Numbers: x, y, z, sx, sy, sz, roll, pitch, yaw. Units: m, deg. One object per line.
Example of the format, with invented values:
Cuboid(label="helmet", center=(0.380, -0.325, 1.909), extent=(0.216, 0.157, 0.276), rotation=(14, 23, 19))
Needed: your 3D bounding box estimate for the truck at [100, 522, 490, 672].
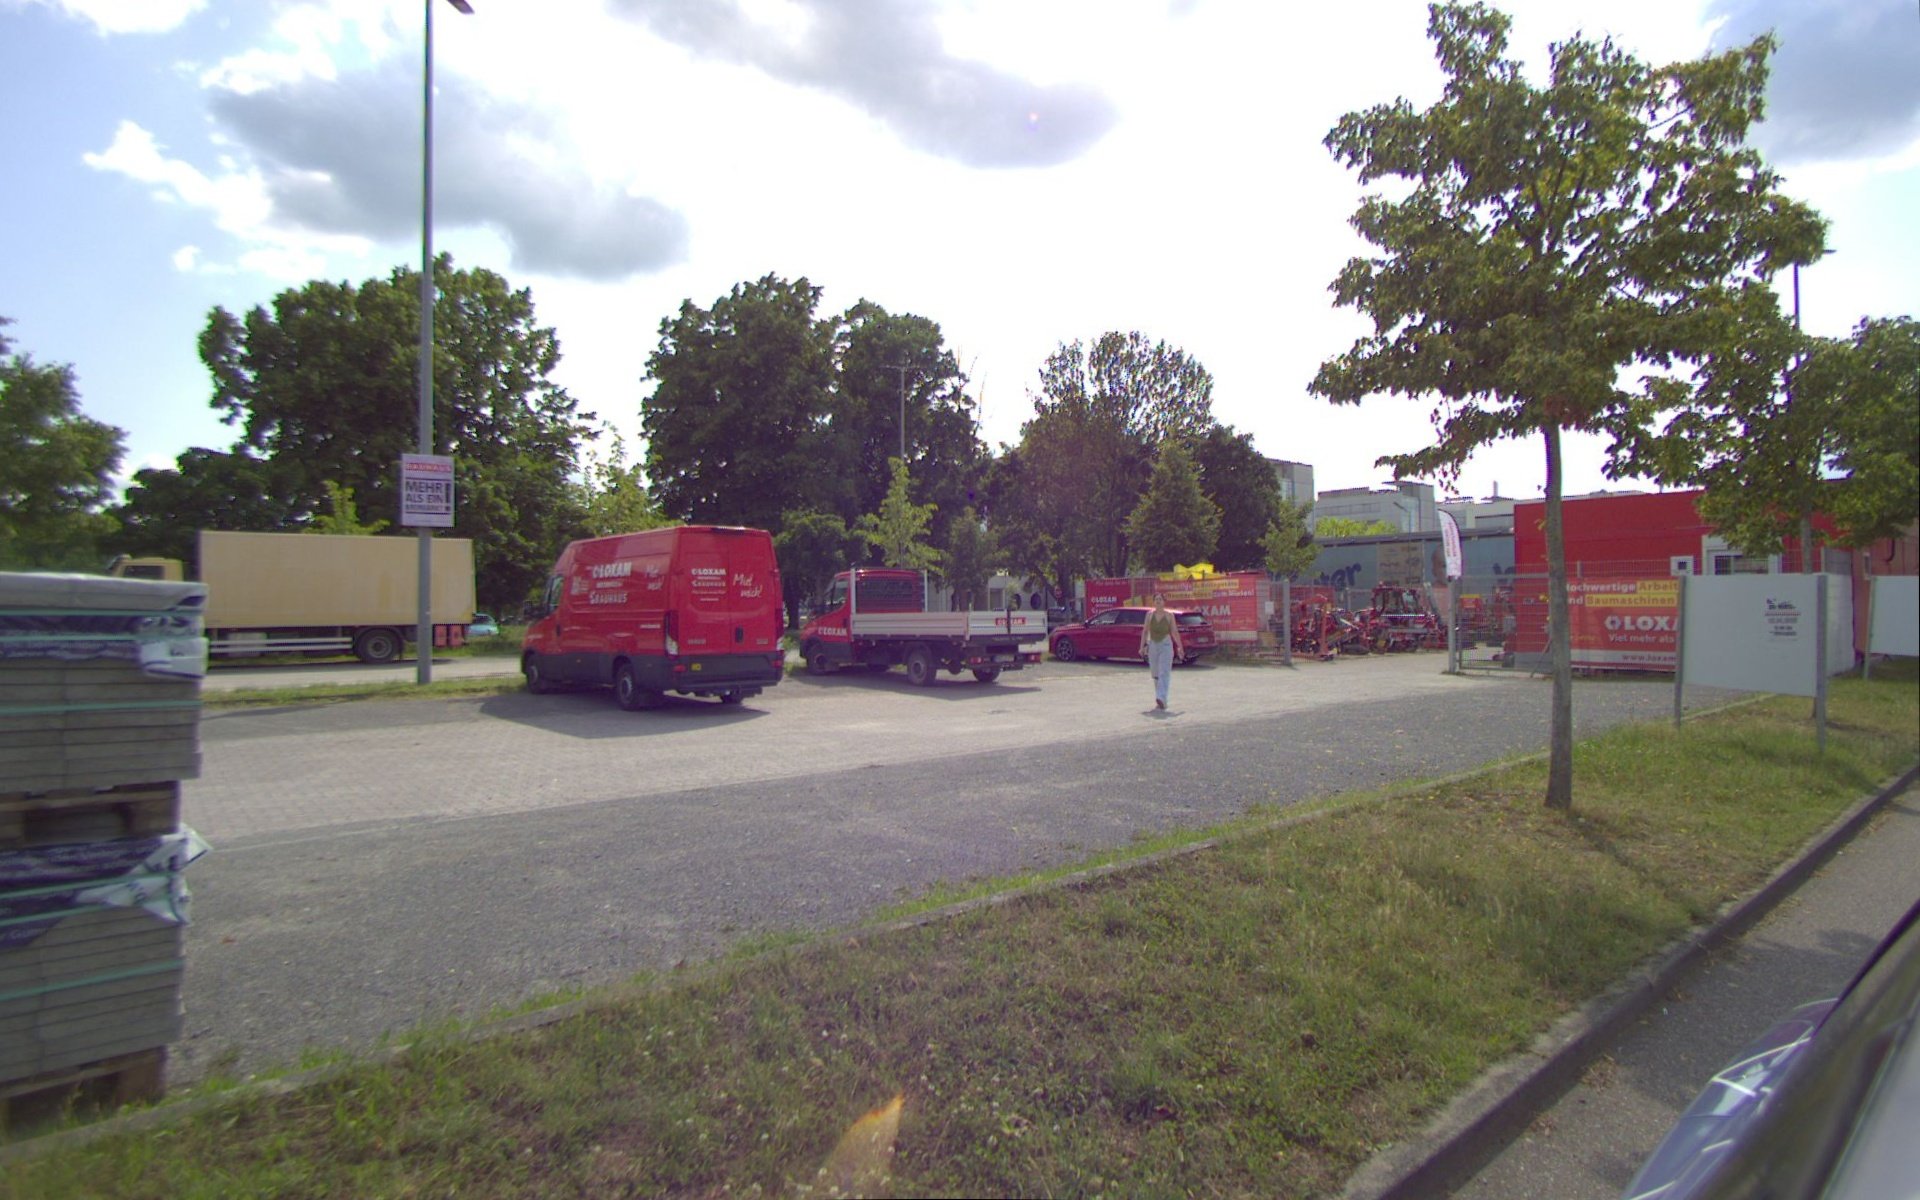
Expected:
Cuboid(label="truck", center=(-18.353, -0.073, 28.546), extent=(8.872, 3.644, 2.727), rotation=(0, 0, -39))

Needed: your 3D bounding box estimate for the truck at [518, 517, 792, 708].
Cuboid(label="truck", center=(-5.058, 0.169, 16.212), extent=(2.080, 2.547, 5.433), rotation=(1, -1, -42))

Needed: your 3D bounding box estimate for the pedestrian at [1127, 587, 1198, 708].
Cuboid(label="pedestrian", center=(2.982, 0.665, 14.884), extent=(0.863, 1.713, 0.600), rotation=(-1, 0, -39))

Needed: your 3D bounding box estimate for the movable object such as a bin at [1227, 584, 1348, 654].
Cuboid(label="movable object such as a bin", center=(9.203, 0.531, 28.572), extent=(1.364, 1.867, 3.008), rotation=(1, -1, -40))

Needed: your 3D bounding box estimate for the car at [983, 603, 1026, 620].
Cuboid(label="car", center=(4.285, 1.140, 98.274), extent=(1.967, 1.603, 3.990), rotation=(0, -1, -44))

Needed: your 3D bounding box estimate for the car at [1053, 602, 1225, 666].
Cuboid(label="car", center=(4.457, 0.797, 25.612), extent=(1.592, 1.432, 4.134), rotation=(0, 0, -45))

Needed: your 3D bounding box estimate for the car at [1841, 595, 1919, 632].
Cuboid(label="car", center=(43.167, 0.592, 46.402), extent=(1.874, 1.667, 3.992), rotation=(0, 0, -42))

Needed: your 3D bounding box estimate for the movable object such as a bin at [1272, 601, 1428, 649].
Cuboid(label="movable object such as a bin", center=(12.315, 0.745, 32.088), extent=(3.025, 1.396, 3.586), rotation=(1, 0, -36))

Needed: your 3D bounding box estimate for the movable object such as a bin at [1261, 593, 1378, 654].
Cuboid(label="movable object such as a bin", center=(10.613, 0.674, 29.968), extent=(1.364, 1.691, 3.008), rotation=(1, -1, -40))

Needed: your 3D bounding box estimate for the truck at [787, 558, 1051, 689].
Cuboid(label="truck", center=(-1.029, 0.419, 20.584), extent=(2.136, 2.284, 5.851), rotation=(0, 0, -42))
